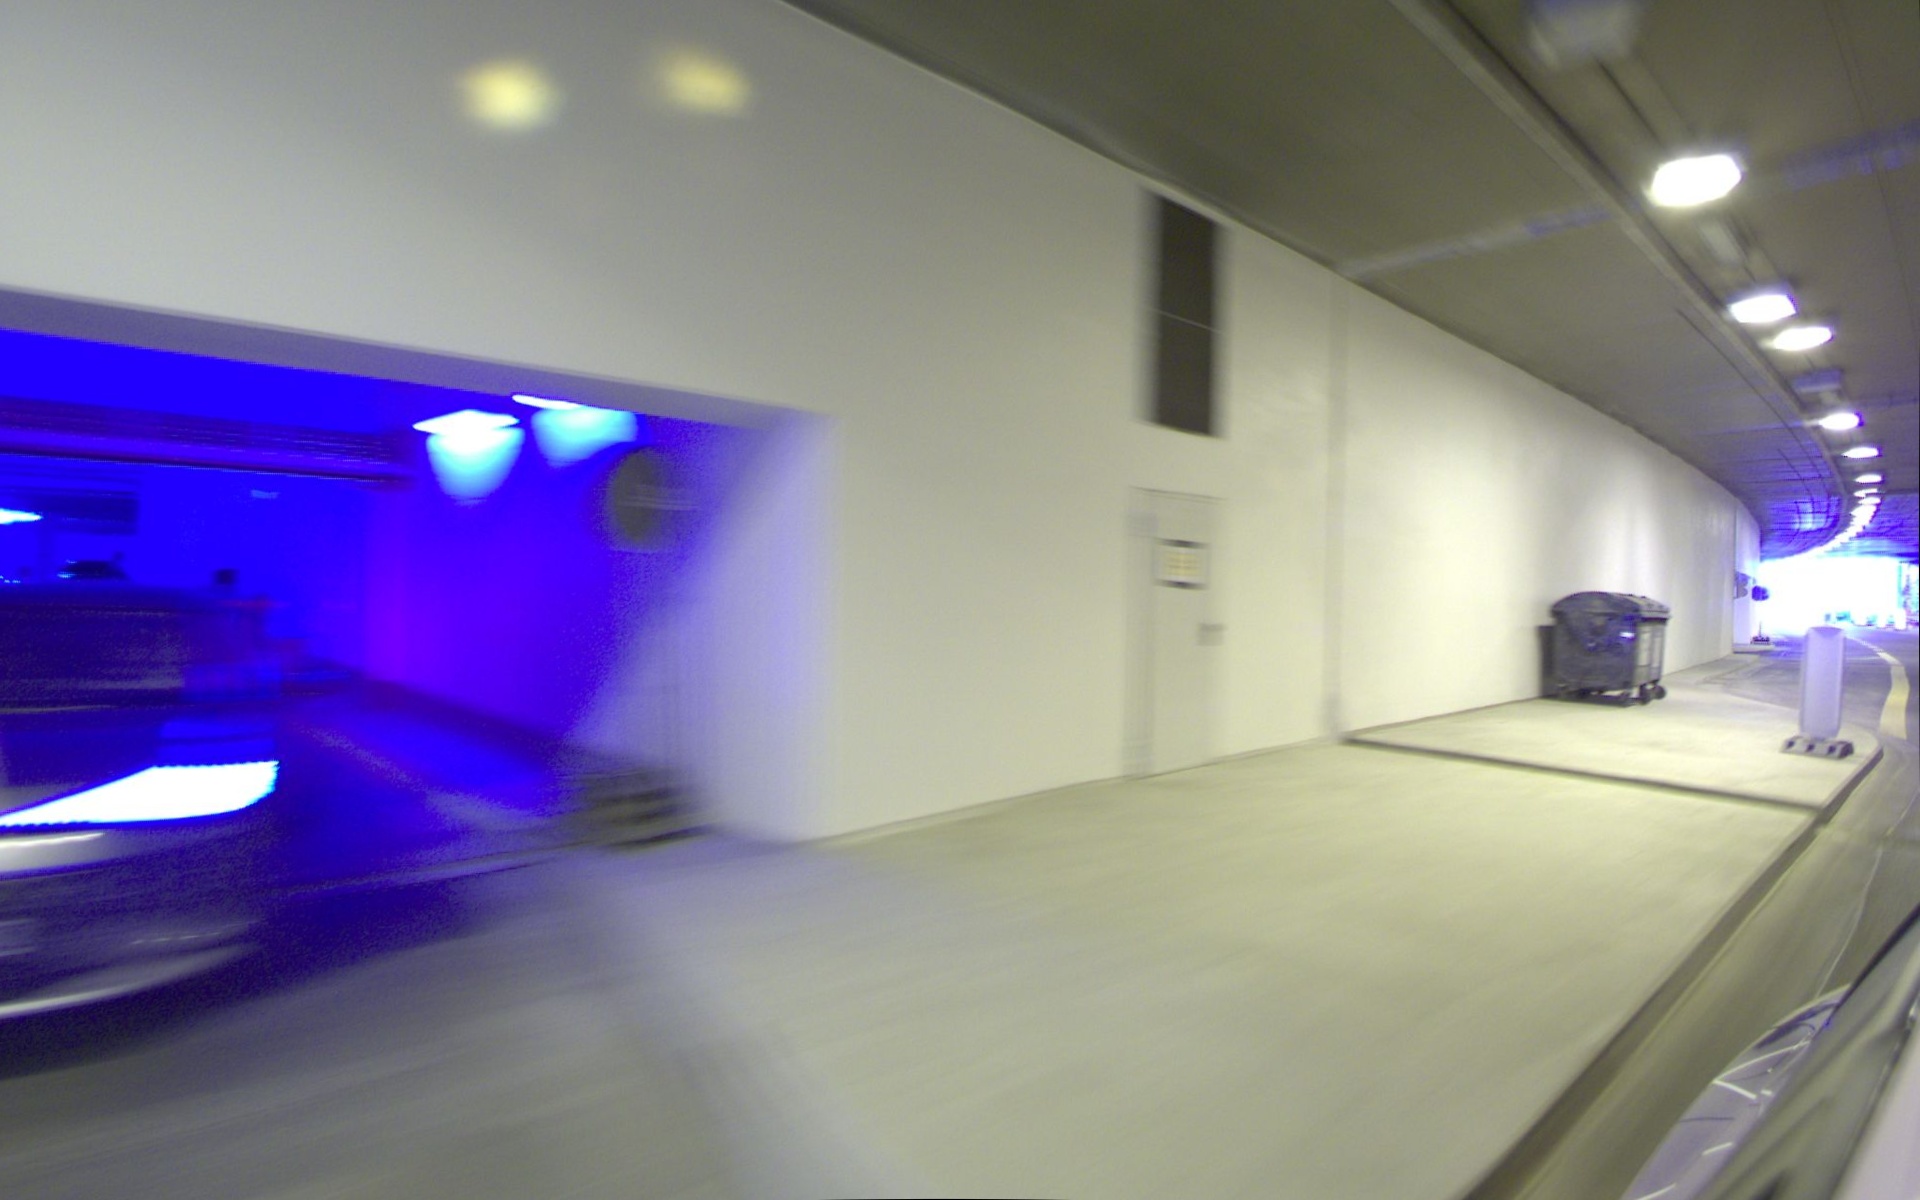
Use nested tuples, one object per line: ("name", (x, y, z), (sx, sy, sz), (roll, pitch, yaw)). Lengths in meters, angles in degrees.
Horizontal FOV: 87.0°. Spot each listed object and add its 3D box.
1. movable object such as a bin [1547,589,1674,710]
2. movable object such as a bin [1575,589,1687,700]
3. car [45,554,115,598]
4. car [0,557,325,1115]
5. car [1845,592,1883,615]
("movable object such as a bin", (8.518, 0.598, 13.247), (1.146, 1.463, 1.342), (0, 0, 45))
("movable object such as a bin", (9.476, 0.581, 14.284), (1.098, 1.463, 1.301), (0, 0, 45))
("car", (-29.544, -0.788, 33.954), (1.701, 1.393, 3.992), (-1, 1, -42))
("car", (-4.053, 0.649, 4.506), (1.860, 1.565, 4.245), (0, 1, -29))
("car", (73.829, 0.264, 82.734), (1.989, 1.775, 3.946), (0, 1, 37))
